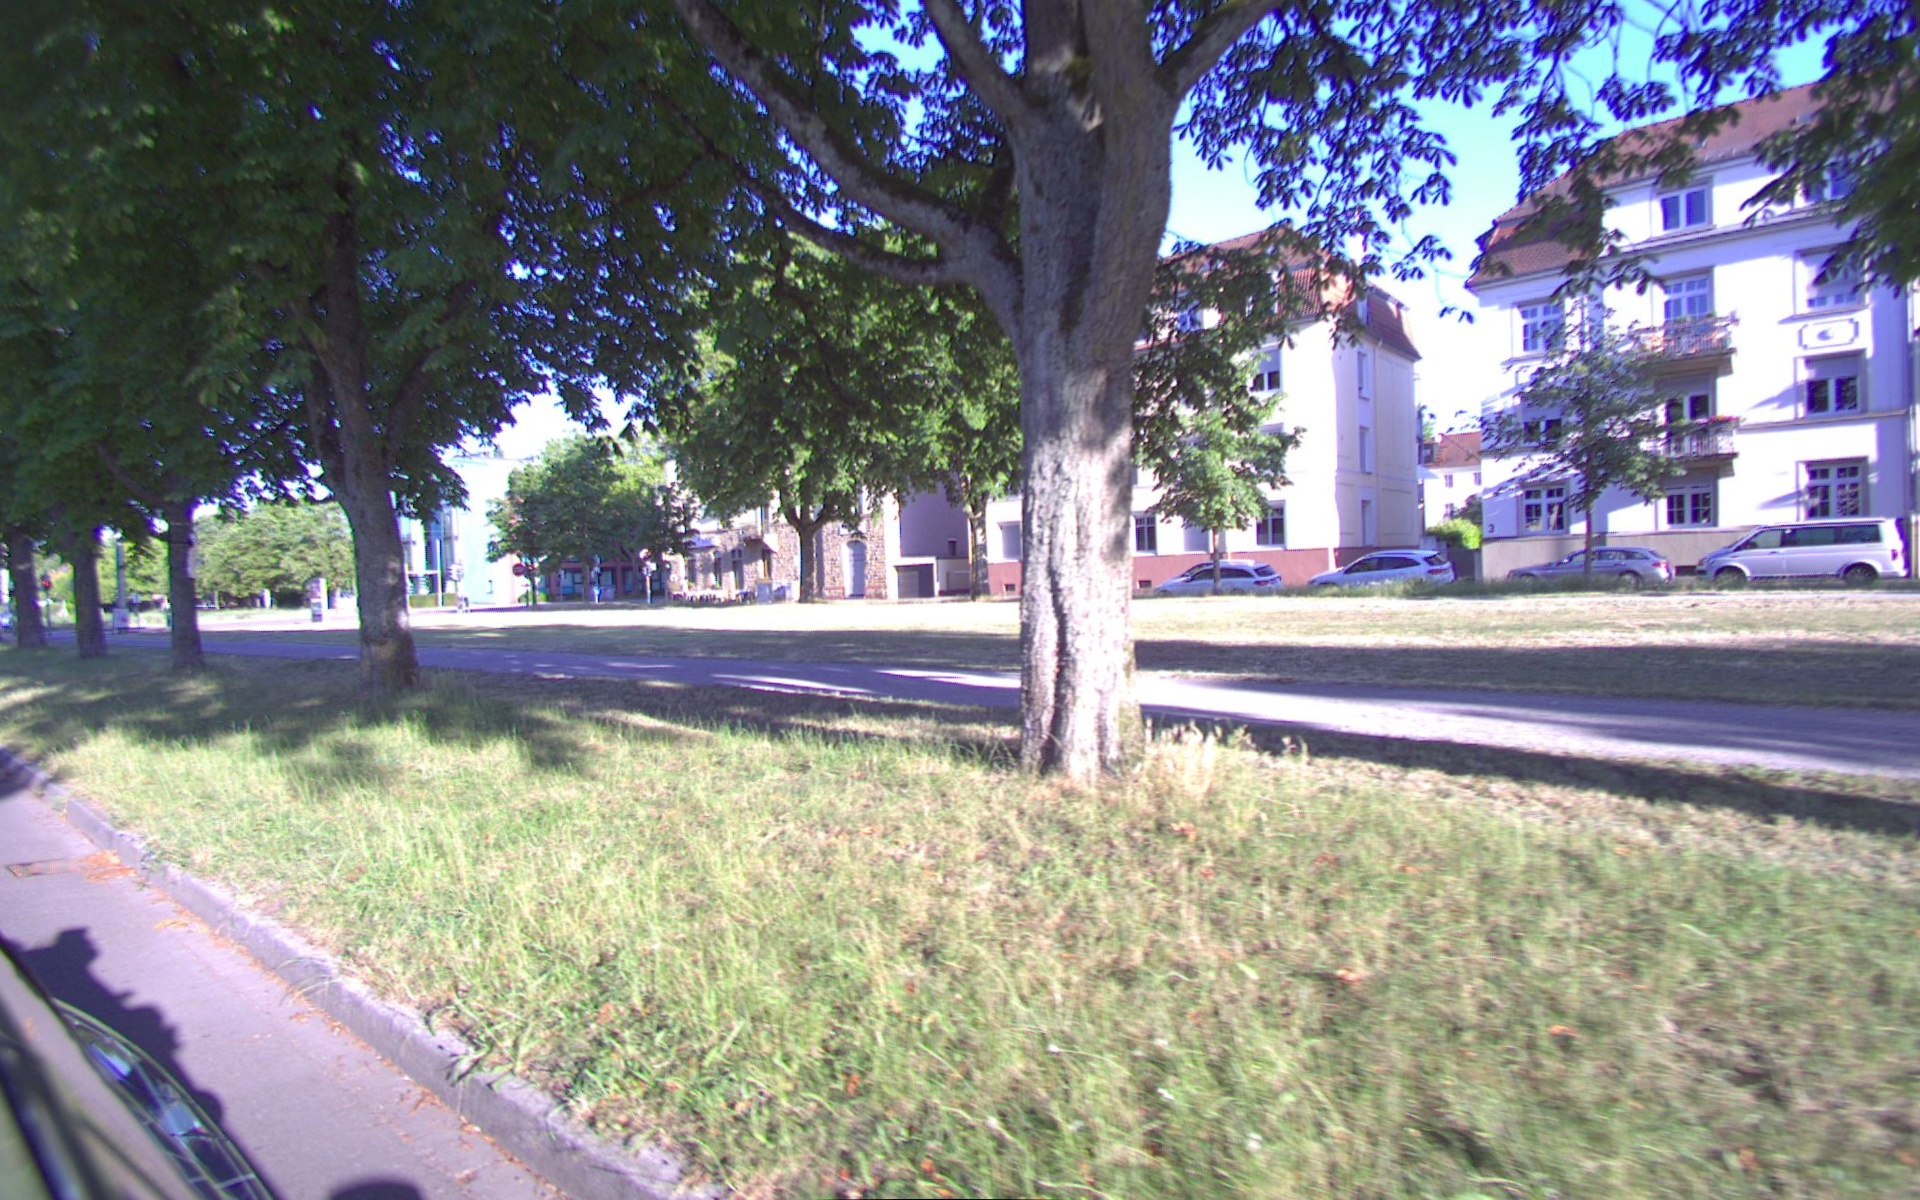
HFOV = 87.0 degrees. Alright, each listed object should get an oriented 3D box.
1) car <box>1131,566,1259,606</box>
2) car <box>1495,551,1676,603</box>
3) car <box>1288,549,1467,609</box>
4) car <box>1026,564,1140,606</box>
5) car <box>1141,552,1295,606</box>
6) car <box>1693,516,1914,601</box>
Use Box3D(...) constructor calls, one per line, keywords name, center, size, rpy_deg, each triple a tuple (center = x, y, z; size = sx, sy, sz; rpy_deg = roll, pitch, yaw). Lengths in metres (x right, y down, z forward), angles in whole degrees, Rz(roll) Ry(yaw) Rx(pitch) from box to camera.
Box3D(name="car", center=(9.892, -0.590, 42.811), size=(4.870, 1.464, 1.974), rpy_deg=(-2, 2, 39))
Box3D(name="car", center=(20.573, -0.737, 33.413), size=(4.870, 1.464, 1.974), rpy_deg=(-2, 2, 39))
Box3D(name="car", center=(13.251, -0.653, 32.305), size=(4.874, 1.703, 1.973), rpy_deg=(-1, 2, 42))
Box3D(name="car", center=(5.636, -0.670, 46.728), size=(4.870, 1.703, 1.974), rpy_deg=(-2, 2, 39))
Box3D(name="car", center=(9.090, -0.715, 35.907), size=(4.874, 1.703, 1.973), rpy_deg=(-1, 2, 42))
Box3D(name="car", center=(24.822, -1.169, 29.932), size=(4.876, 2.218, 1.972), rpy_deg=(-1, 2, 43))
